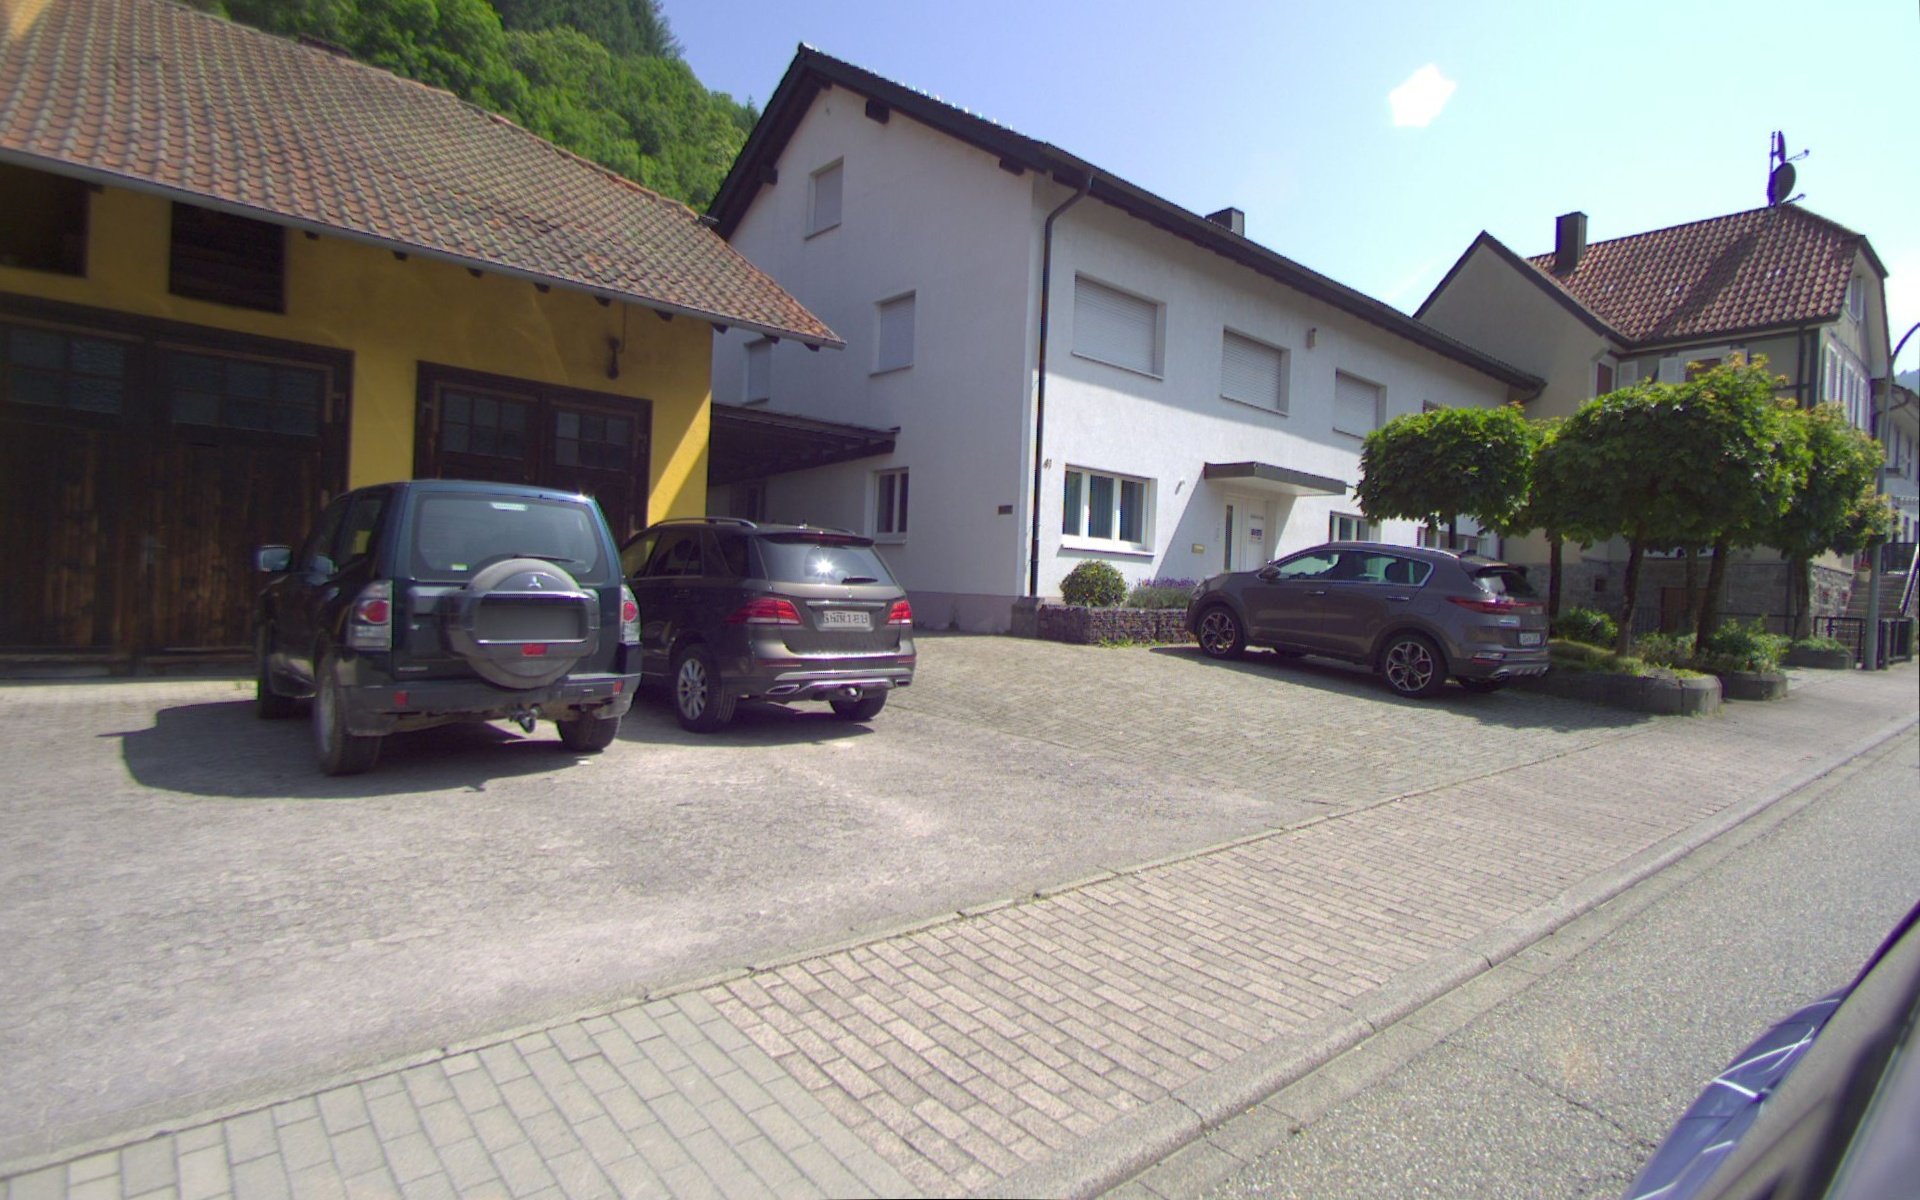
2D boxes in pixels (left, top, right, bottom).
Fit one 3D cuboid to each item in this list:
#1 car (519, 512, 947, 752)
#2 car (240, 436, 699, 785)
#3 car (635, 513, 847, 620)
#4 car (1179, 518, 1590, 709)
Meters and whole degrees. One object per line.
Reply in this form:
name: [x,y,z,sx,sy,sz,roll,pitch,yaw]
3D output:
car: [-2.371,0.116,9.750,4.422,1.781,1.921,4,3,44]
car: [-3.852,-0.050,7.547,1.922,1.855,4.132,0,3,-43]
car: [-3.919,-0.623,17.703,1.839,1.664,3.993,0,3,-43]
car: [4.942,0.003,12.394,1.743,1.706,4.238,0,6,-36]
